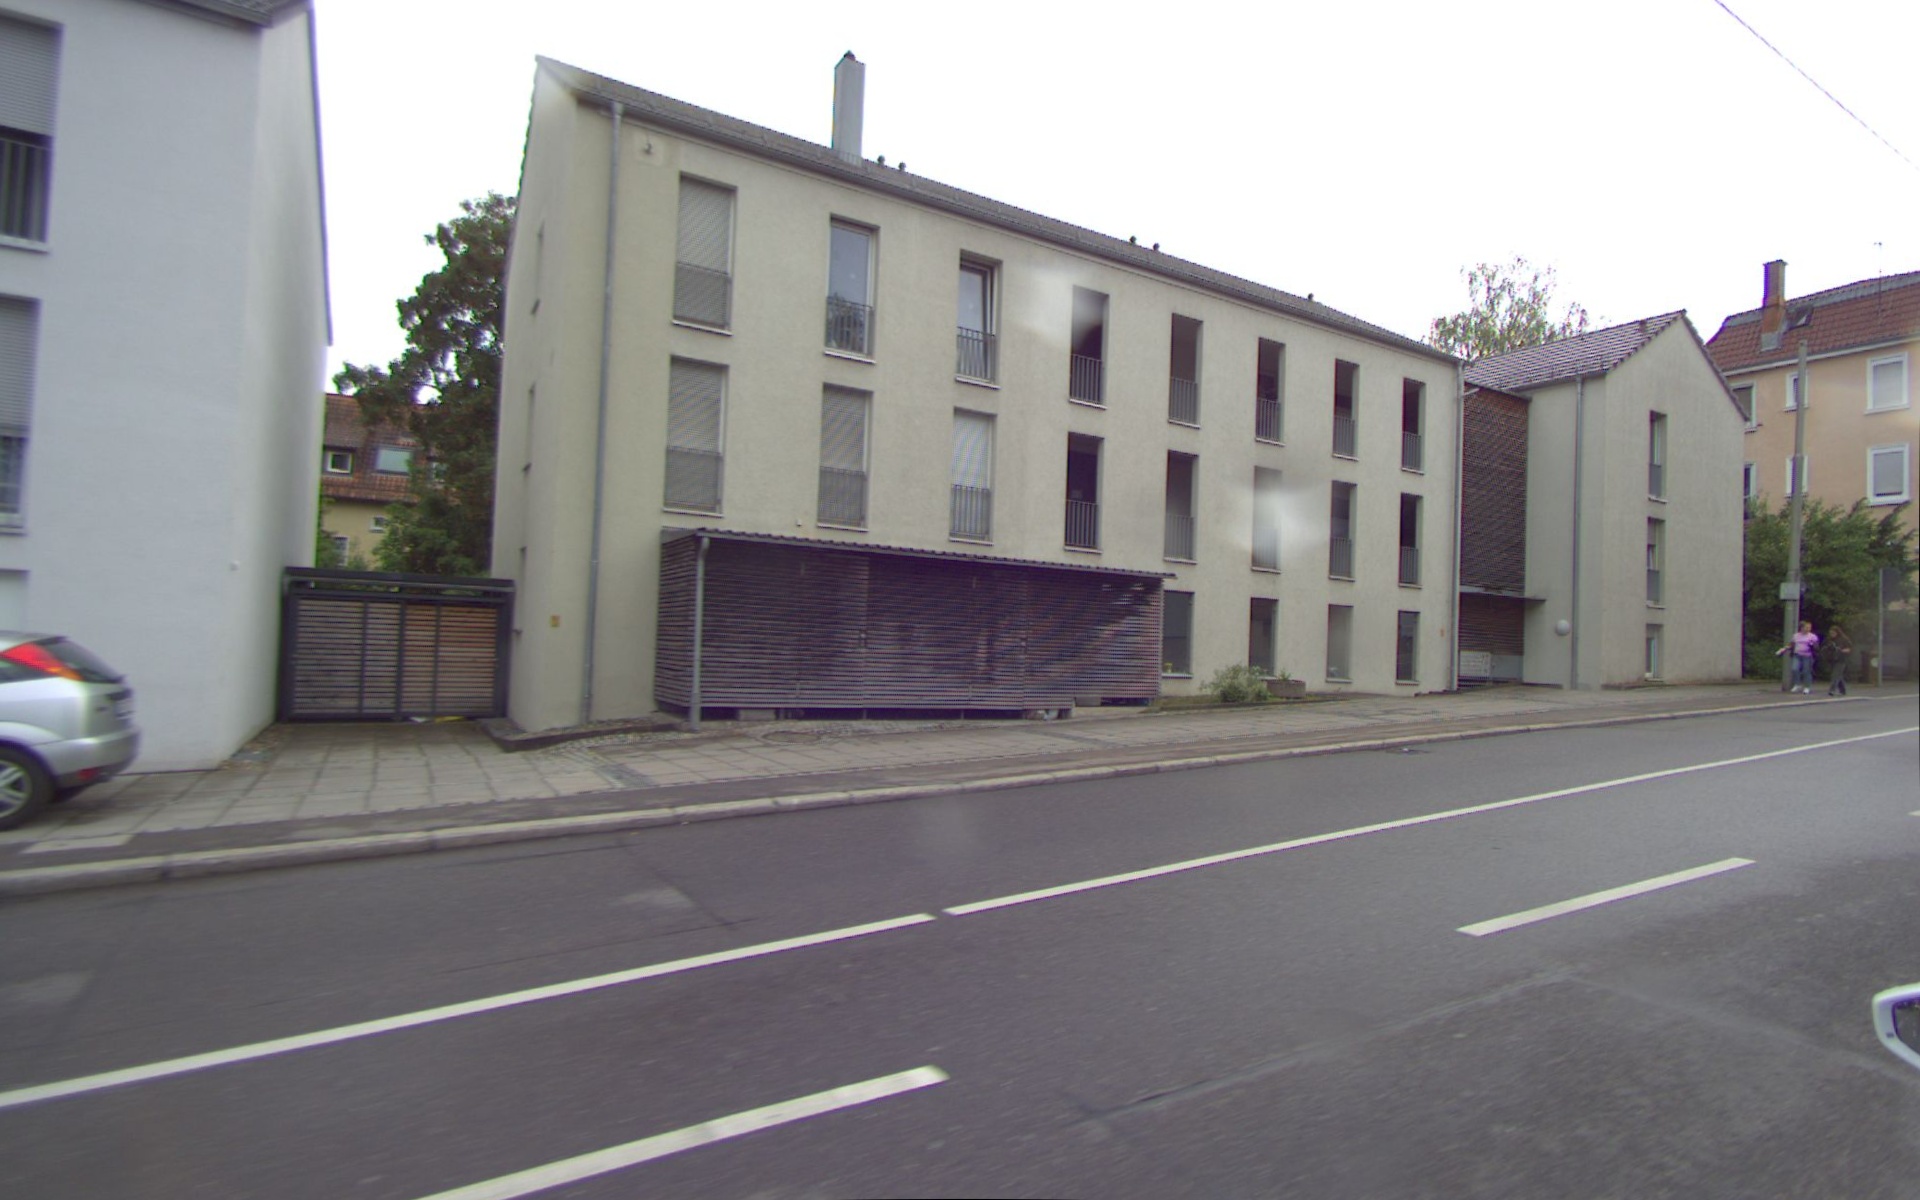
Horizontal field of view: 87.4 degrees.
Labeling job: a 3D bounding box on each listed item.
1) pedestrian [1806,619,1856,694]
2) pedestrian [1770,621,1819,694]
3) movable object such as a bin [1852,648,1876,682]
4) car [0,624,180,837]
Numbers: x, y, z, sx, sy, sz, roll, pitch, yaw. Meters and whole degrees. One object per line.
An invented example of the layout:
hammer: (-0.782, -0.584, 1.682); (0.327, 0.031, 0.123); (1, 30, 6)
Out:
pedestrian: (20.617, 1.321, 23.769); (0.900, 1.729, 0.637); (1, -1, -30)
pedestrian: (20.238, 1.373, 24.353); (0.900, 1.729, 0.637); (1, -1, -30)
movable object such as a bin: (26.140, 1.878, 29.044); (0.521, 0.937, 0.406); (2, -1, -37)
car: (-8.484, 0.934, 7.358); (4.129, 1.528, 1.737); (2, -2, -31)
